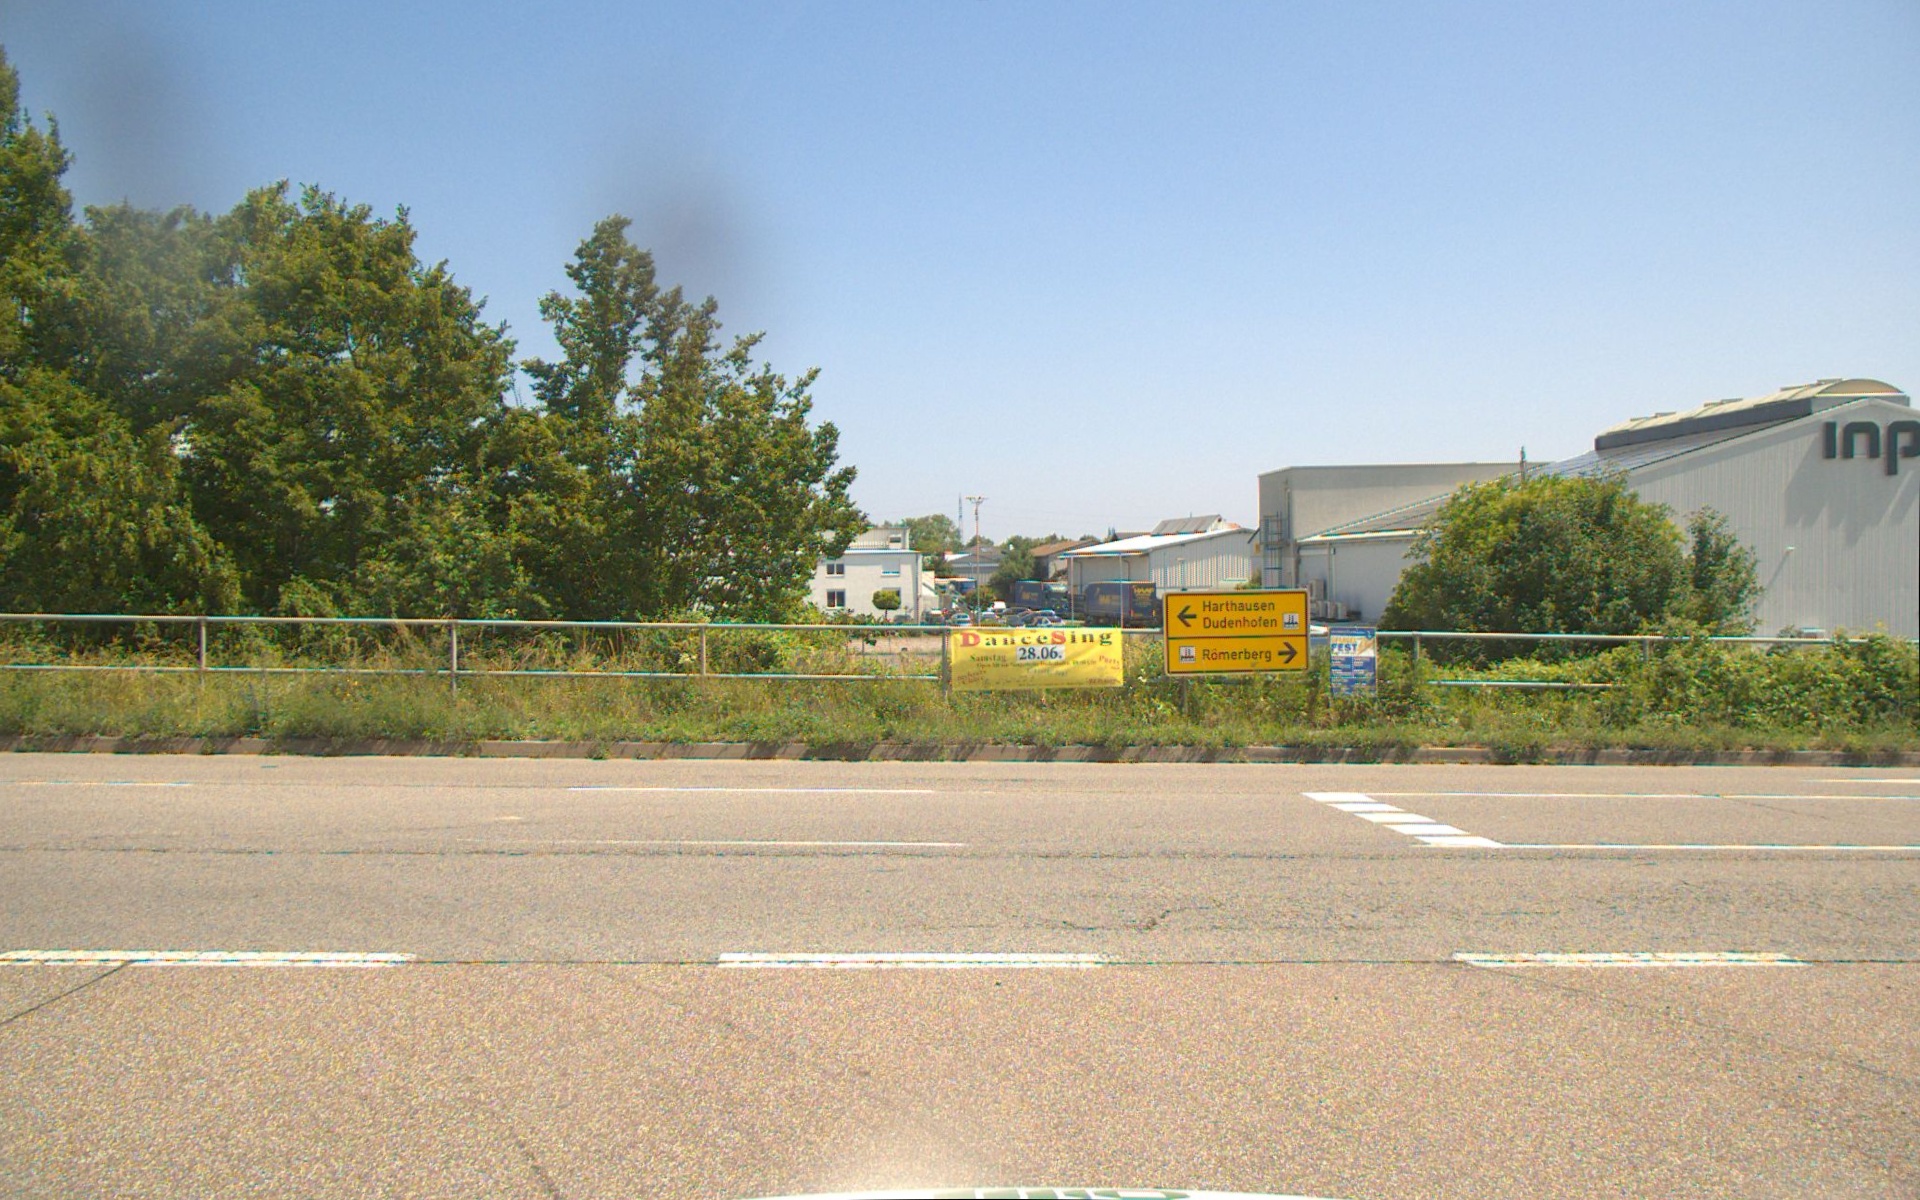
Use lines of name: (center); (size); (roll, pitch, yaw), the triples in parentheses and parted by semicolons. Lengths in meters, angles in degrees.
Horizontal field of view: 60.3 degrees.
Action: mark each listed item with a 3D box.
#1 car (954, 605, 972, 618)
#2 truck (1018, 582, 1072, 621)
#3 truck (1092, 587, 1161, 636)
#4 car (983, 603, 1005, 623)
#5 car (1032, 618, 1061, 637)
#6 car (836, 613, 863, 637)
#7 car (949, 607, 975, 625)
car: (0.353, 1.242, 182.435); (1.424, 1.374, 3.308); (0, 0, -10)
truck: (9.699, 0.123, 190.821); (3.348, 4.386, 14.565); (0, 0, -8)
truck: (15.682, 1.016, 156.844); (3.638, 4.386, 13.320); (0, 0, -7)
car: (3.698, 1.403, 179.830); (1.685, 2.049, 3.992); (0, 0, -9)
car: (7.298, 2.310, 139.540); (1.652, 1.387, 3.828); (-3, 1, -9)
car: (-10.196, 2.263, 152.045); (1.957, 2.049, 4.852); (1, 0, -10)
car: (0.177, 1.634, 173.440); (1.957, 1.761, 4.852); (1, 0, -10)
